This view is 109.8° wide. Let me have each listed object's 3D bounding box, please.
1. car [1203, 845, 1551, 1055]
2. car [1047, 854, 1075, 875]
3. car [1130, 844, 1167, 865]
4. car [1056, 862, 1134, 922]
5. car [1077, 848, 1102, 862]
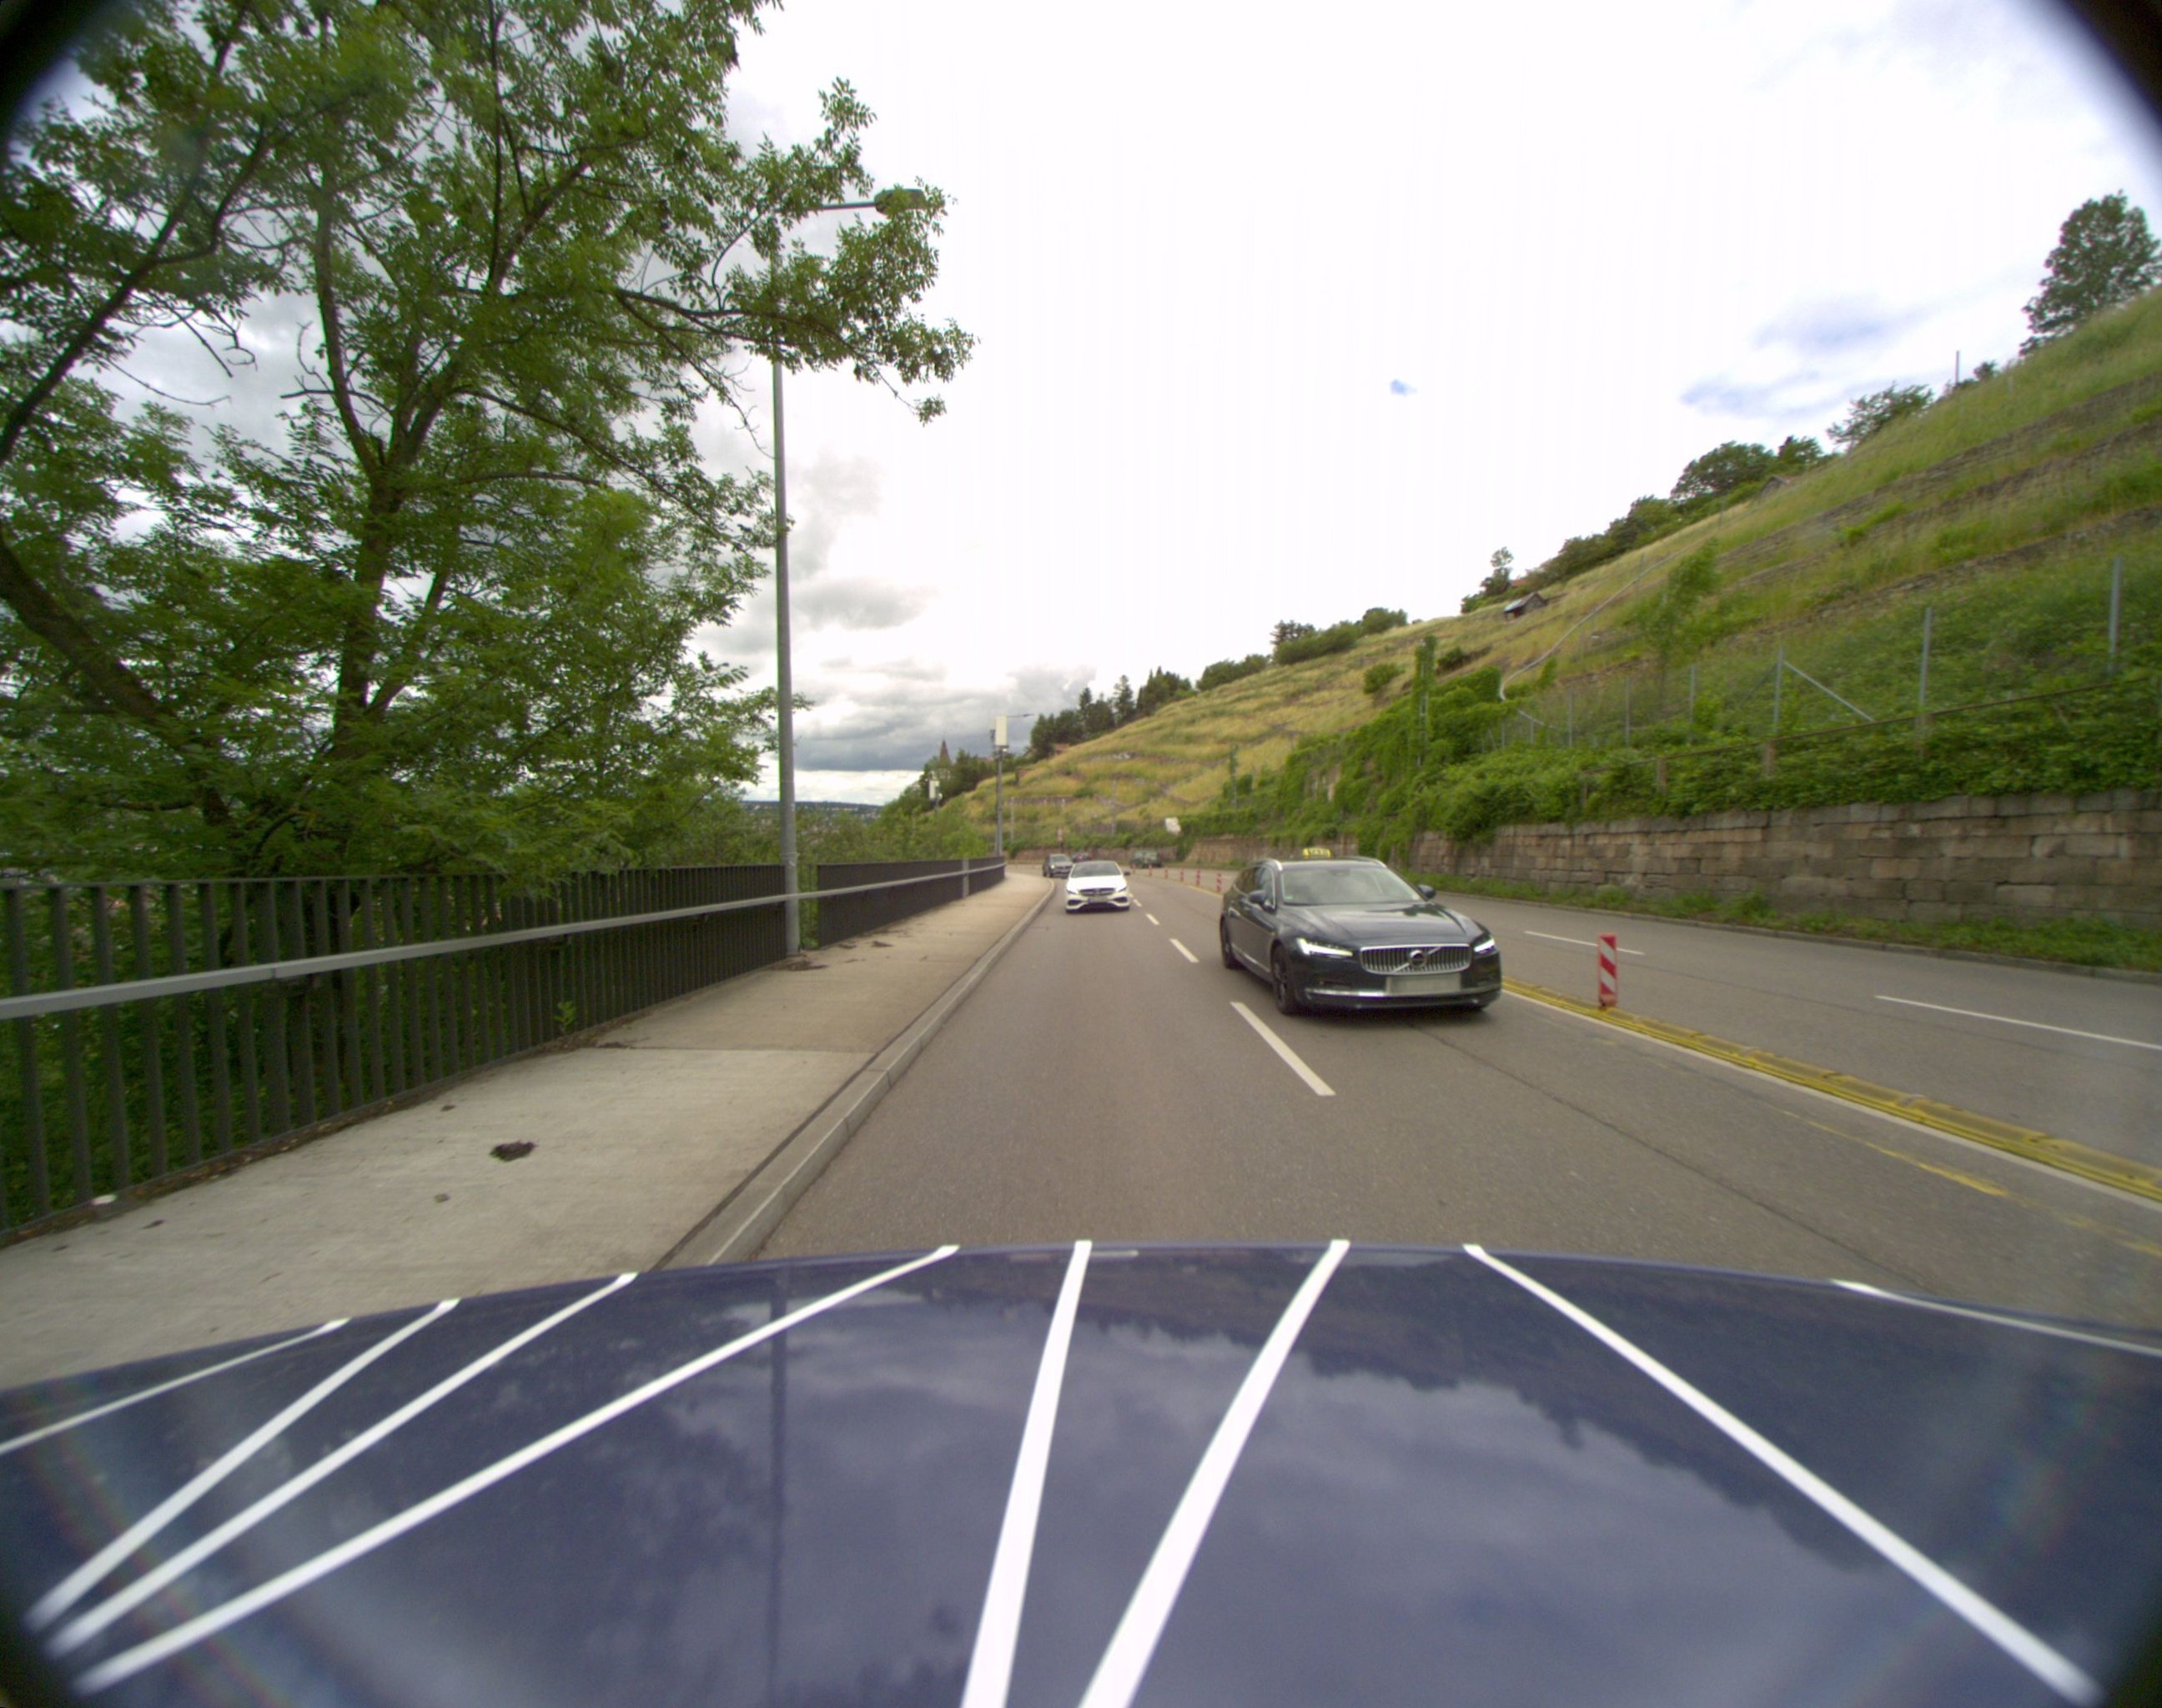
[{"bbox_3d":[2.720,0.739,8.461,1.939,1.567,5.027,-3,0,1],"label":"car"},{"bbox_3d":[-1.474,0.711,54.596,1.645,1.381,3.998,-3,1,-5],"label":"car"},{"bbox_3d":[5.801,0.048,65.967,1.915,1.682,3.995,-3,1,-15],"label":"car"},{"bbox_3d":[0.352,1.007,21.363,1.903,1.418,4.266,-3,-1,0],"label":"car"},{"bbox_3d":[0.847,0.118,79.768,1.601,1.420,3.995,-3,1,-13],"label":"car"}]
